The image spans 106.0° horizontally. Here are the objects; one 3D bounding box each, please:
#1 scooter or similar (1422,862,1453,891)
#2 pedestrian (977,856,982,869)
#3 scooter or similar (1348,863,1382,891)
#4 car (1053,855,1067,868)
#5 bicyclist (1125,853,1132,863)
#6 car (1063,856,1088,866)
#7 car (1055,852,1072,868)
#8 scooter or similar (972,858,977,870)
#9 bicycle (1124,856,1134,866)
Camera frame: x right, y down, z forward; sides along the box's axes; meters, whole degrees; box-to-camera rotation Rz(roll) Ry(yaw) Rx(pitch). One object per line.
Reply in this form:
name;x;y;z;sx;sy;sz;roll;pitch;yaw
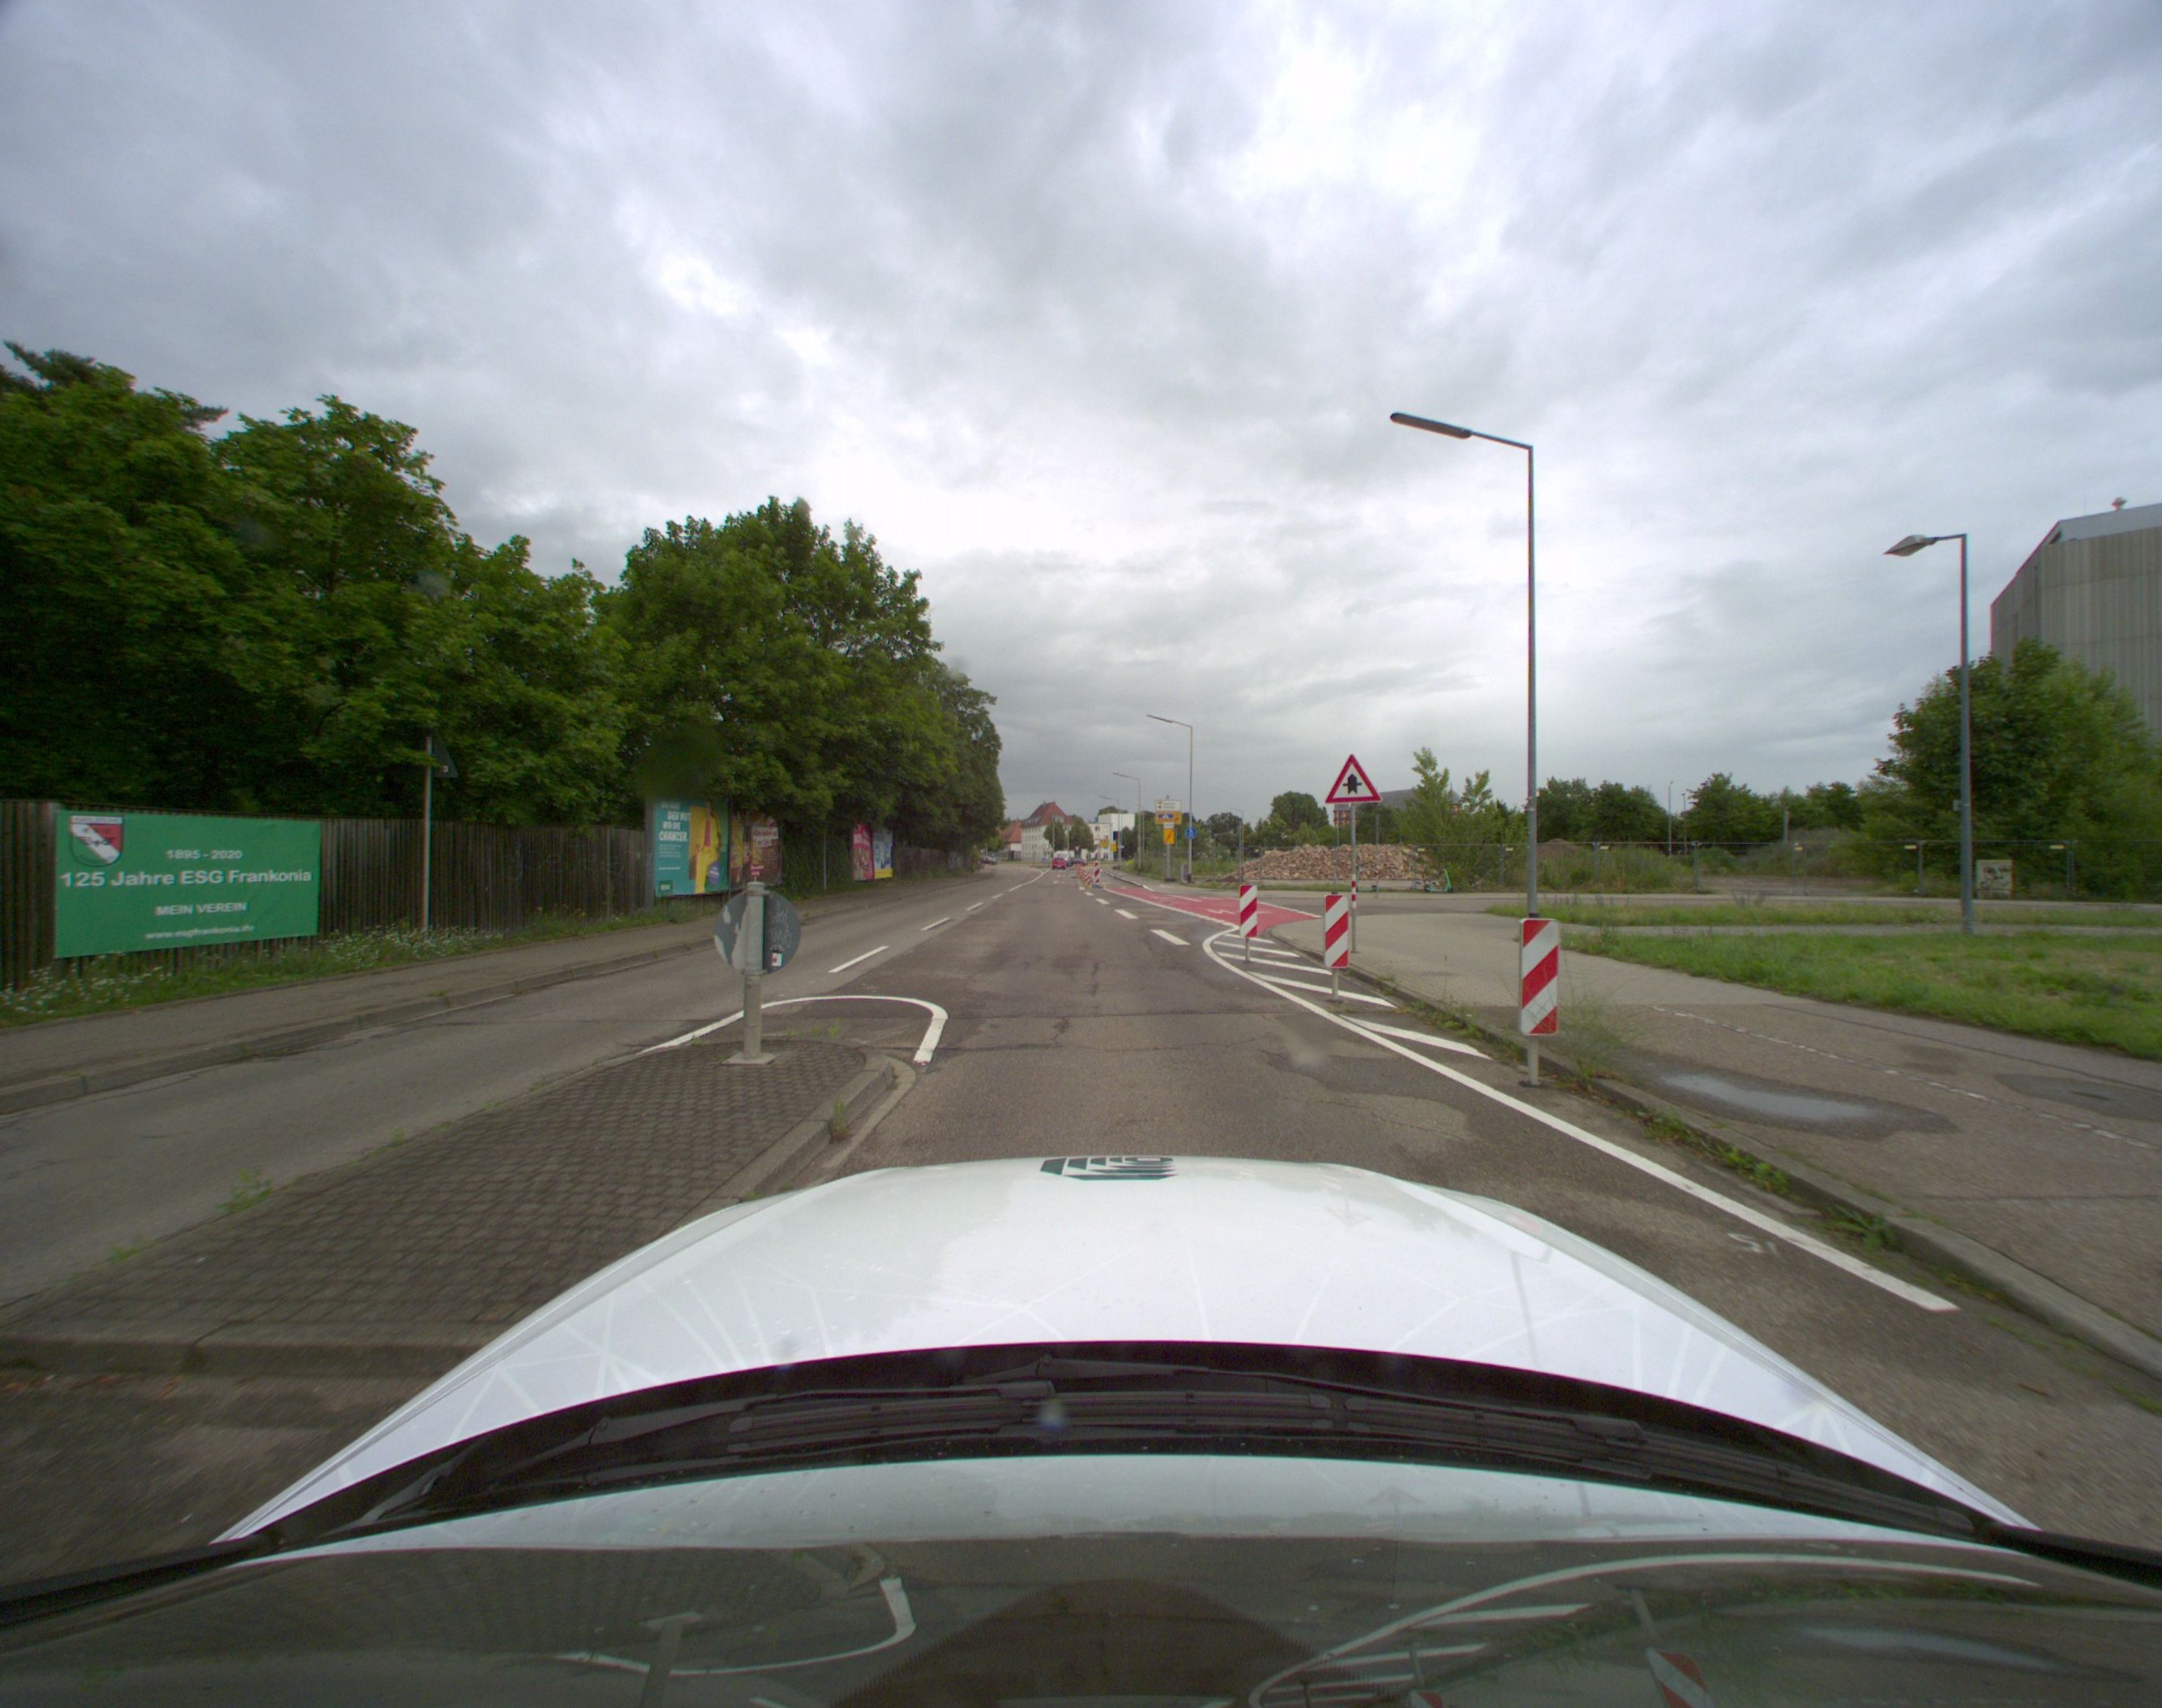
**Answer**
scooter or similar;14.904;0.942;34.041;1.159;1.185;0.448;0;0;24
pedestrian;-12.624;1.068;101.259;0.611;1.529;0.722;0;0;-6
scooter or similar;12.169;0.981;34.897;1.309;1.185;0.449;-1;-1;39
car;-2.719;0.926;105.025;1.668;1.640;3.625;1;0;-1
bicyclist;7.324;0.594;124.437;1.058;1.401;0.615;0;0;1
car;-1.032;1.274;151.463;4.549;1.795;2.128;0;0;41
car;-2.737;0.962;128.599;2.185;2.540;4.969;1;0;5
scooter or similar;-10.727;1.001;81.878;0.422;1.170;1.301;0;0;-6
bicycle;7.331;1.088;124.428;1.472;1.612;0.606;0;0;1
